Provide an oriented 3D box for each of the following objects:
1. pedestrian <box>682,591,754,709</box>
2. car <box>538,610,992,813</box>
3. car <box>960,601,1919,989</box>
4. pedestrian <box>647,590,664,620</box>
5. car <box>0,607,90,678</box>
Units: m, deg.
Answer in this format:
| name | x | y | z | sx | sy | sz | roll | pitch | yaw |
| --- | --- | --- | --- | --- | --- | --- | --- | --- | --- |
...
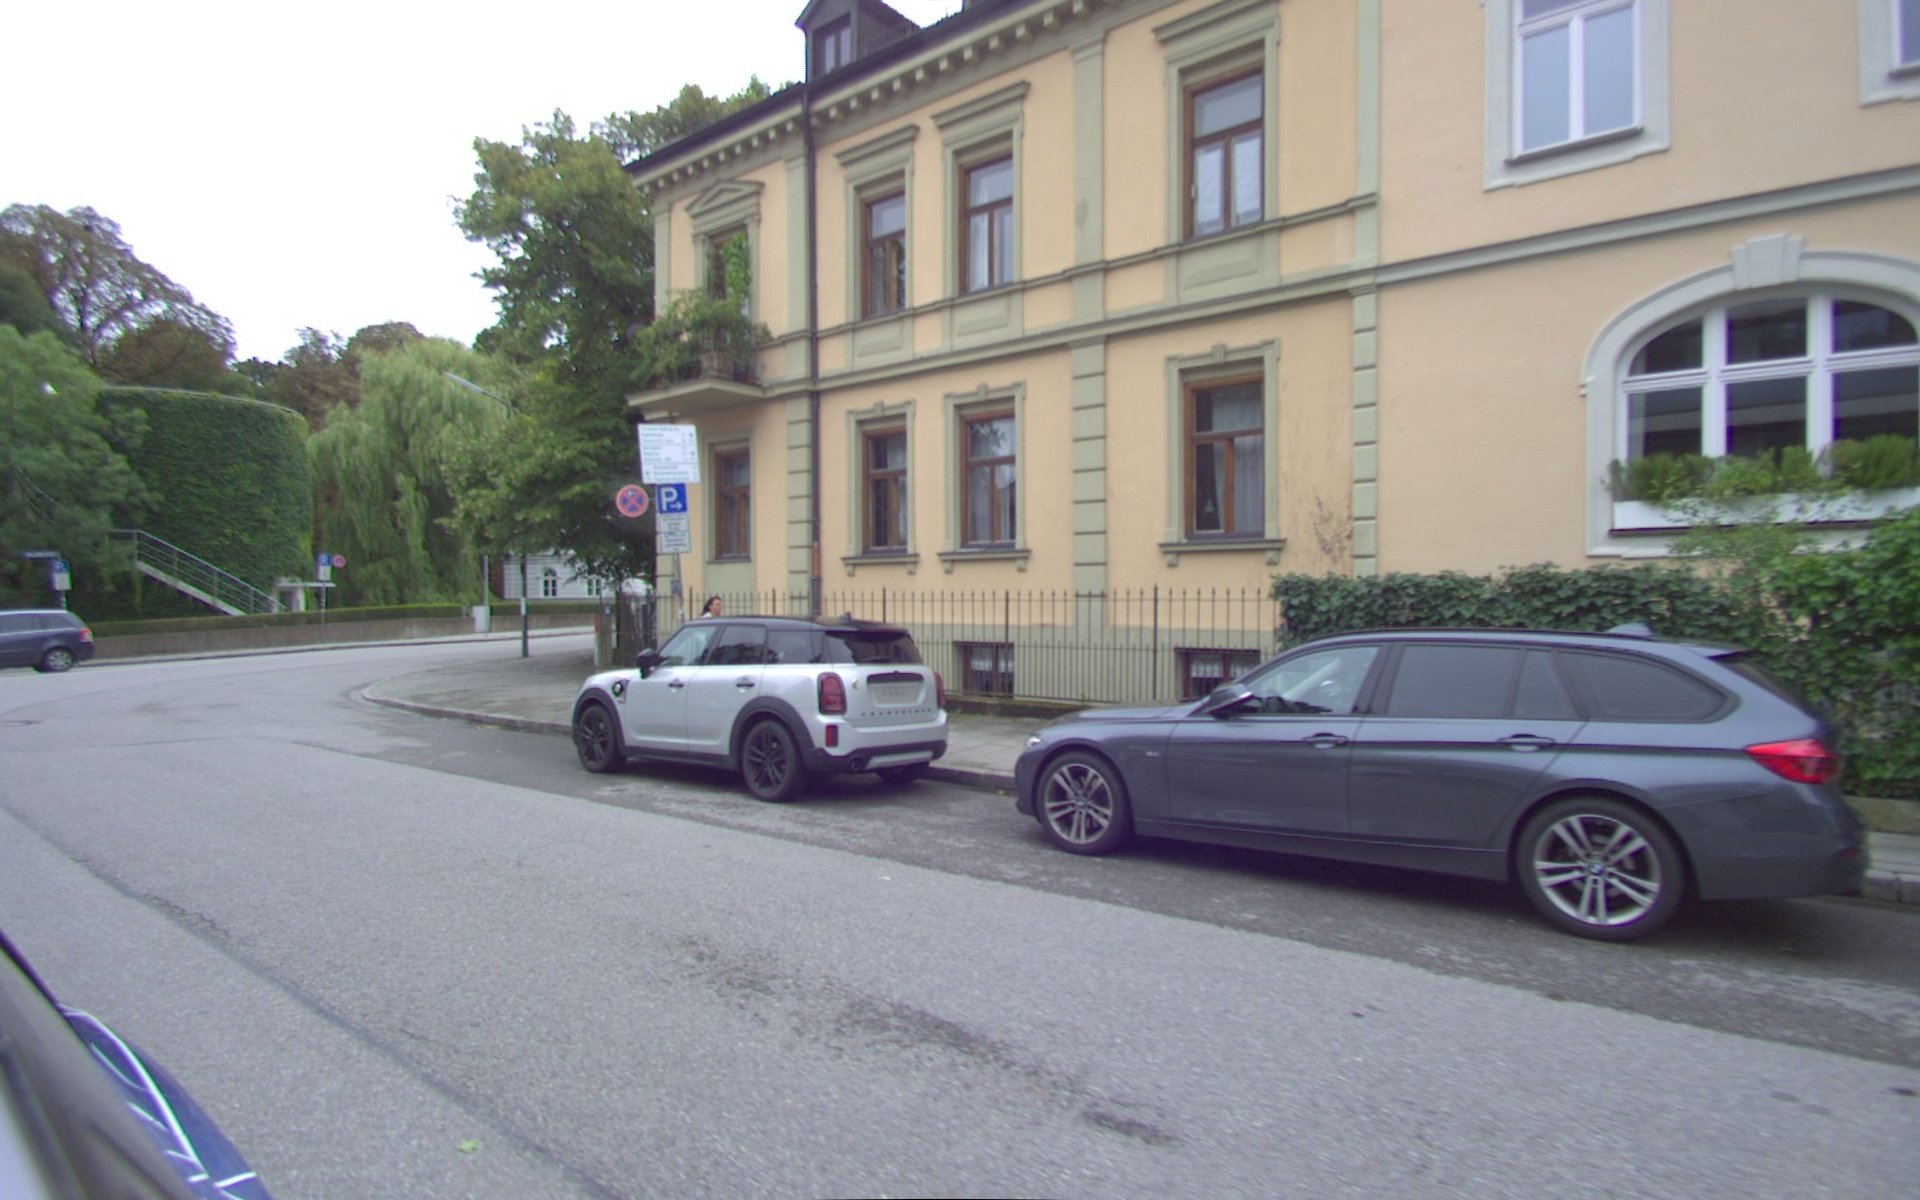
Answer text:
| name | x | y | z | sx | sy | sz | roll | pitch | yaw |
| --- | --- | --- | --- | --- | --- | --- | --- | --- | --- |
| pedestrian | -3.433 | 0.690 | 14.358 | 0.739 | 1.615 | 0.647 | -1 | 0 | 40 |
| car | -2.061 | 0.922 | 9.908 | 4.526 | 1.547 | 1.916 | -1 | -3 | 40 |
| car | 2.484 | 0.837 | 6.201 | 4.814 | 1.520 | 1.917 | -1 | -3 | 38 |
| pedestrian | -17.409 | 0.273 | 57.914 | 0.671 | 1.718 | 0.768 | 2 | 0 | 1 |
| car | -25.110 | 1.182 | 25.665 | 1.998 | 1.705 | 4.278 | -4 | -1 | 39 |
